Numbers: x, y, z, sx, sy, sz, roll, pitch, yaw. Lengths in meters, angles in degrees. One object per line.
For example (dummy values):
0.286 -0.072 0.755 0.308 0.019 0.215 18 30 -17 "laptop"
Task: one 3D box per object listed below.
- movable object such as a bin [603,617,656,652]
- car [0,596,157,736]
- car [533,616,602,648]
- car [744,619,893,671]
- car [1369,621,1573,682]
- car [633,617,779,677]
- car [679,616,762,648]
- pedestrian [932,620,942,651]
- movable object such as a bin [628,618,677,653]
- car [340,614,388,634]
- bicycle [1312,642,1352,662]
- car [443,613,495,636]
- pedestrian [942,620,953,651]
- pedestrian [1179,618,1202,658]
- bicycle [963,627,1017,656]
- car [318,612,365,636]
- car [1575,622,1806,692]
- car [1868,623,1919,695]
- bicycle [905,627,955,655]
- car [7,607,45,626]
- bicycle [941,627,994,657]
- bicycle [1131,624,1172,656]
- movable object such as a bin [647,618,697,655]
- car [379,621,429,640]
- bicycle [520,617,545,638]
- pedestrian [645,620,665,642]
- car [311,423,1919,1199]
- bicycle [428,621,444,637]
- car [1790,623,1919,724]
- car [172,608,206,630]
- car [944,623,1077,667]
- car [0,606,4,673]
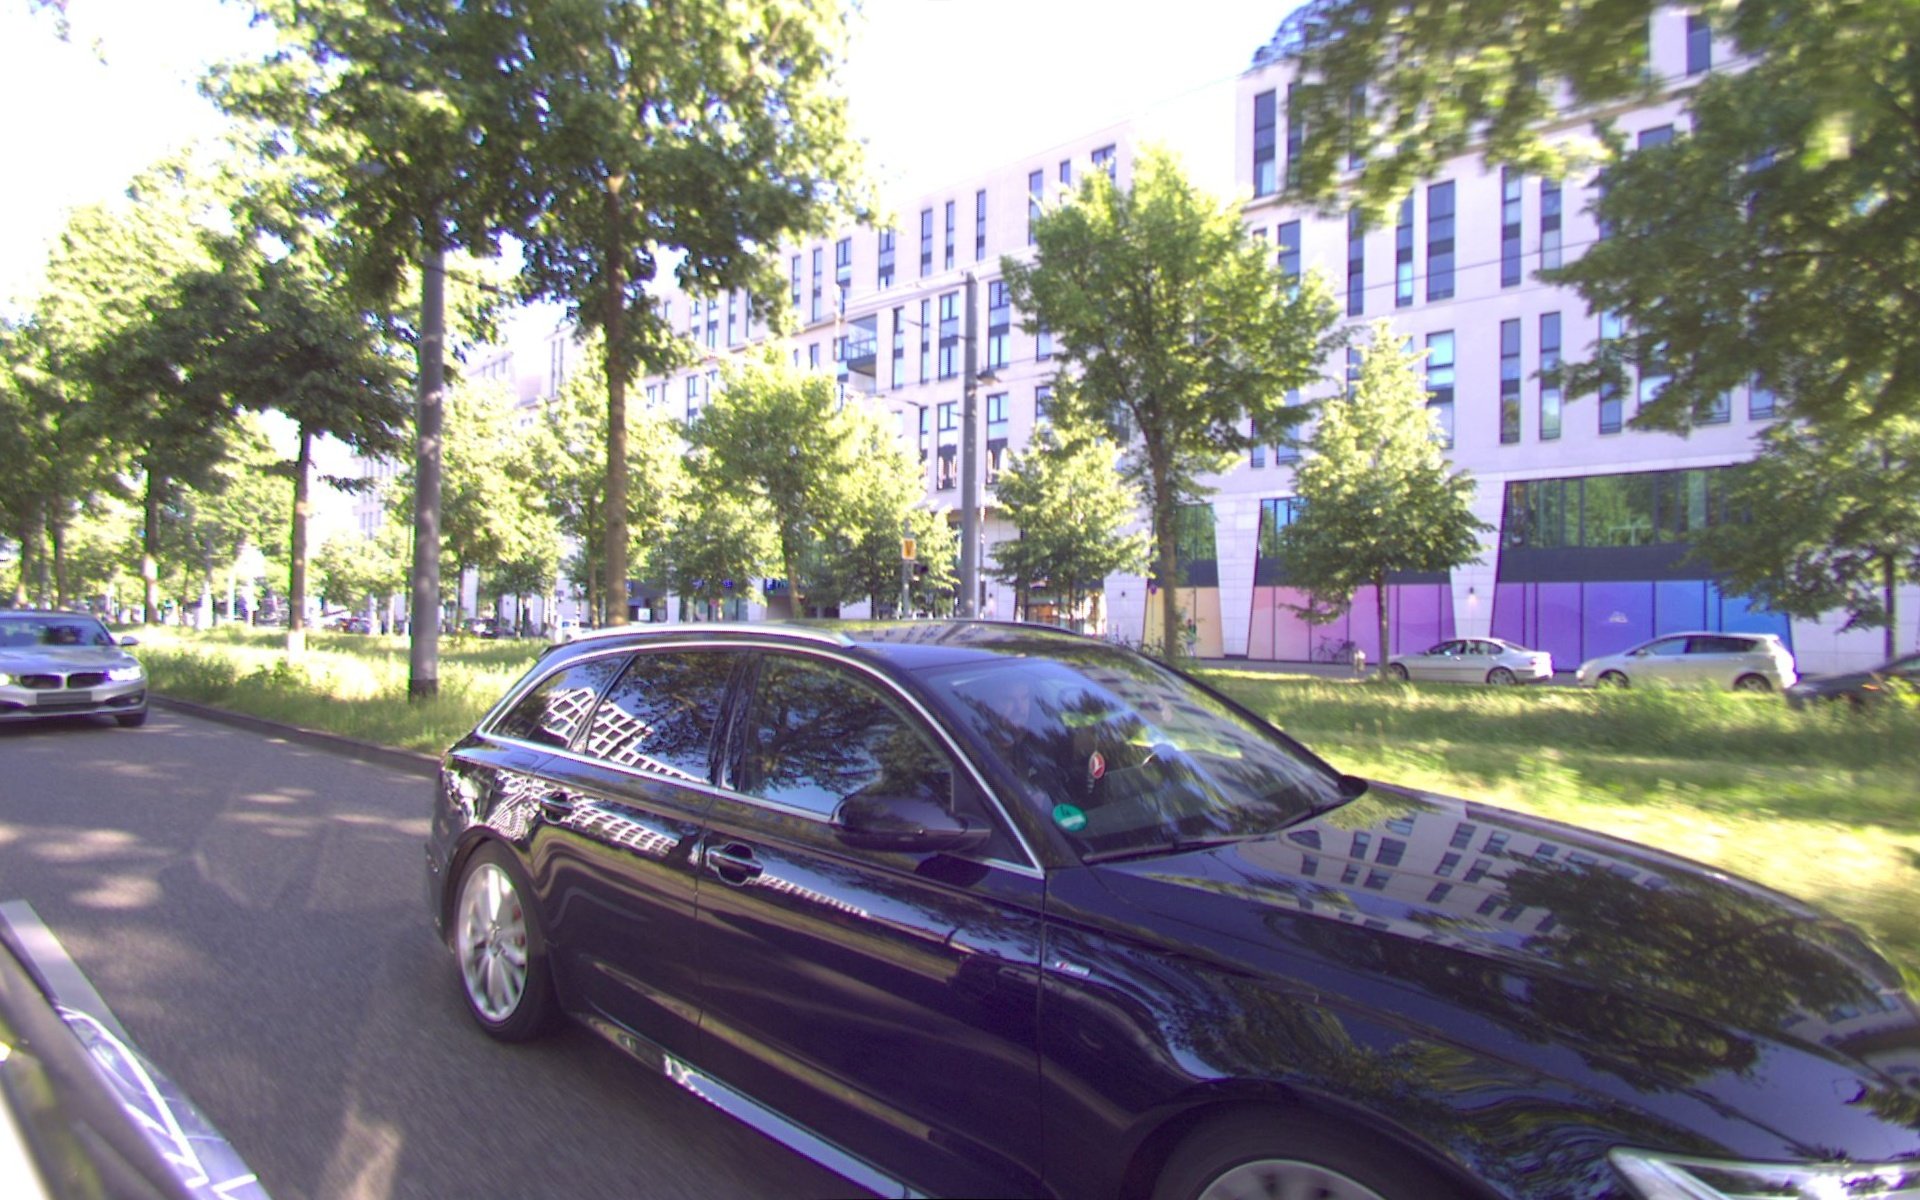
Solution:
-18.067 1.879 55.337 2.008 1.808 1.951 0 0 38 "movable object such as a bin"
-12.148 0.746 13.231 4.276 1.590 1.862 0 0 41 "car"
-23.694 1.900 61.079 4.333 1.742 1.974 0 0 39 "car"
-4.652 1.391 32.779 5.109 1.452 1.972 0 0 42 "car"
14.107 1.348 28.056 4.773 1.452 1.974 0 0 39 "car"
-8.214 1.438 32.461 5.107 1.698 1.973 0 0 41 "car"
-11.962 1.568 50.479 4.015 1.452 1.974 0 0 39 "car"
-1.177 1.828 51.765 0.494 1.561 0.522 0 0 -7 "pedestrian"
-16.436 1.878 54.083 1.554 1.808 1.951 0 0 39 "movable object such as a bin"
-47.592 1.920 80.793 3.994 1.584 1.974 0 -2 38 "car"
14.926 2.094 40.655 1.516 0.737 0.274 0 0 43 "bicycle"
-33.324 1.619 68.625 4.268 1.491 1.542 -1 -1 40 "car"
-0.660 1.822 52.367 0.494 1.561 0.522 0 0 -7 "pedestrian"
9.775 1.617 42.893 0.719 1.663 0.629 0 0 39 "pedestrian"
1.439 1.991 48.805 0.935 1.290 2.775 0 0 -42 "bicycle"
-52.305 2.023 85.568 4.548 2.029 1.974 -1 -2 38 "car"
17.779 1.305 24.730 4.453 1.452 1.973 0 0 41 "car"
22.107 1.270 21.197 4.451 1.452 1.974 0 0 39 "car"
-1.525 2.030 50.890 0.935 1.290 2.775 0 0 -42 "bicycle"
-123.128 2.174 133.412 6.016 2.399 2.483 -1 -2 36 "car"
0.330 1.997 48.384 0.935 1.290 2.775 0 0 -42 "bicycle"
8.016 1.659 42.434 1.606 1.290 0.592 0 0 39 "bicycle"
-15.056 1.878 52.925 1.554 1.808 1.951 0 0 39 "movable object such as a bin"
-42.286 2.308 76.966 4.331 1.424 1.707 -1 -2 38 "car"
-32.852 2.115 77.772 3.034 1.557 0.611 0 0 43 "bicycle"
-21.184 2.152 70.296 1.024 1.479 0.939 0 0 32 "pedestrian"
0.060 0.626 3.072 5.079 1.492 1.933 -2 -2 39 "car"
-46.558 2.597 89.891 0.654 1.335 2.338 0 0 -43 "bicycle"
15.749 1.137 15.494 4.699 1.452 1.973 0 0 40 "car"
-72.977 1.759 95.718 4.001 2.029 1.971 0 0 44 "car"
1.882 1.683 38.844 4.919 1.452 1.974 0 0 39 "car"
-23.956 0.905 23.796 4.000 1.534 1.925 0 0 43 "car"
